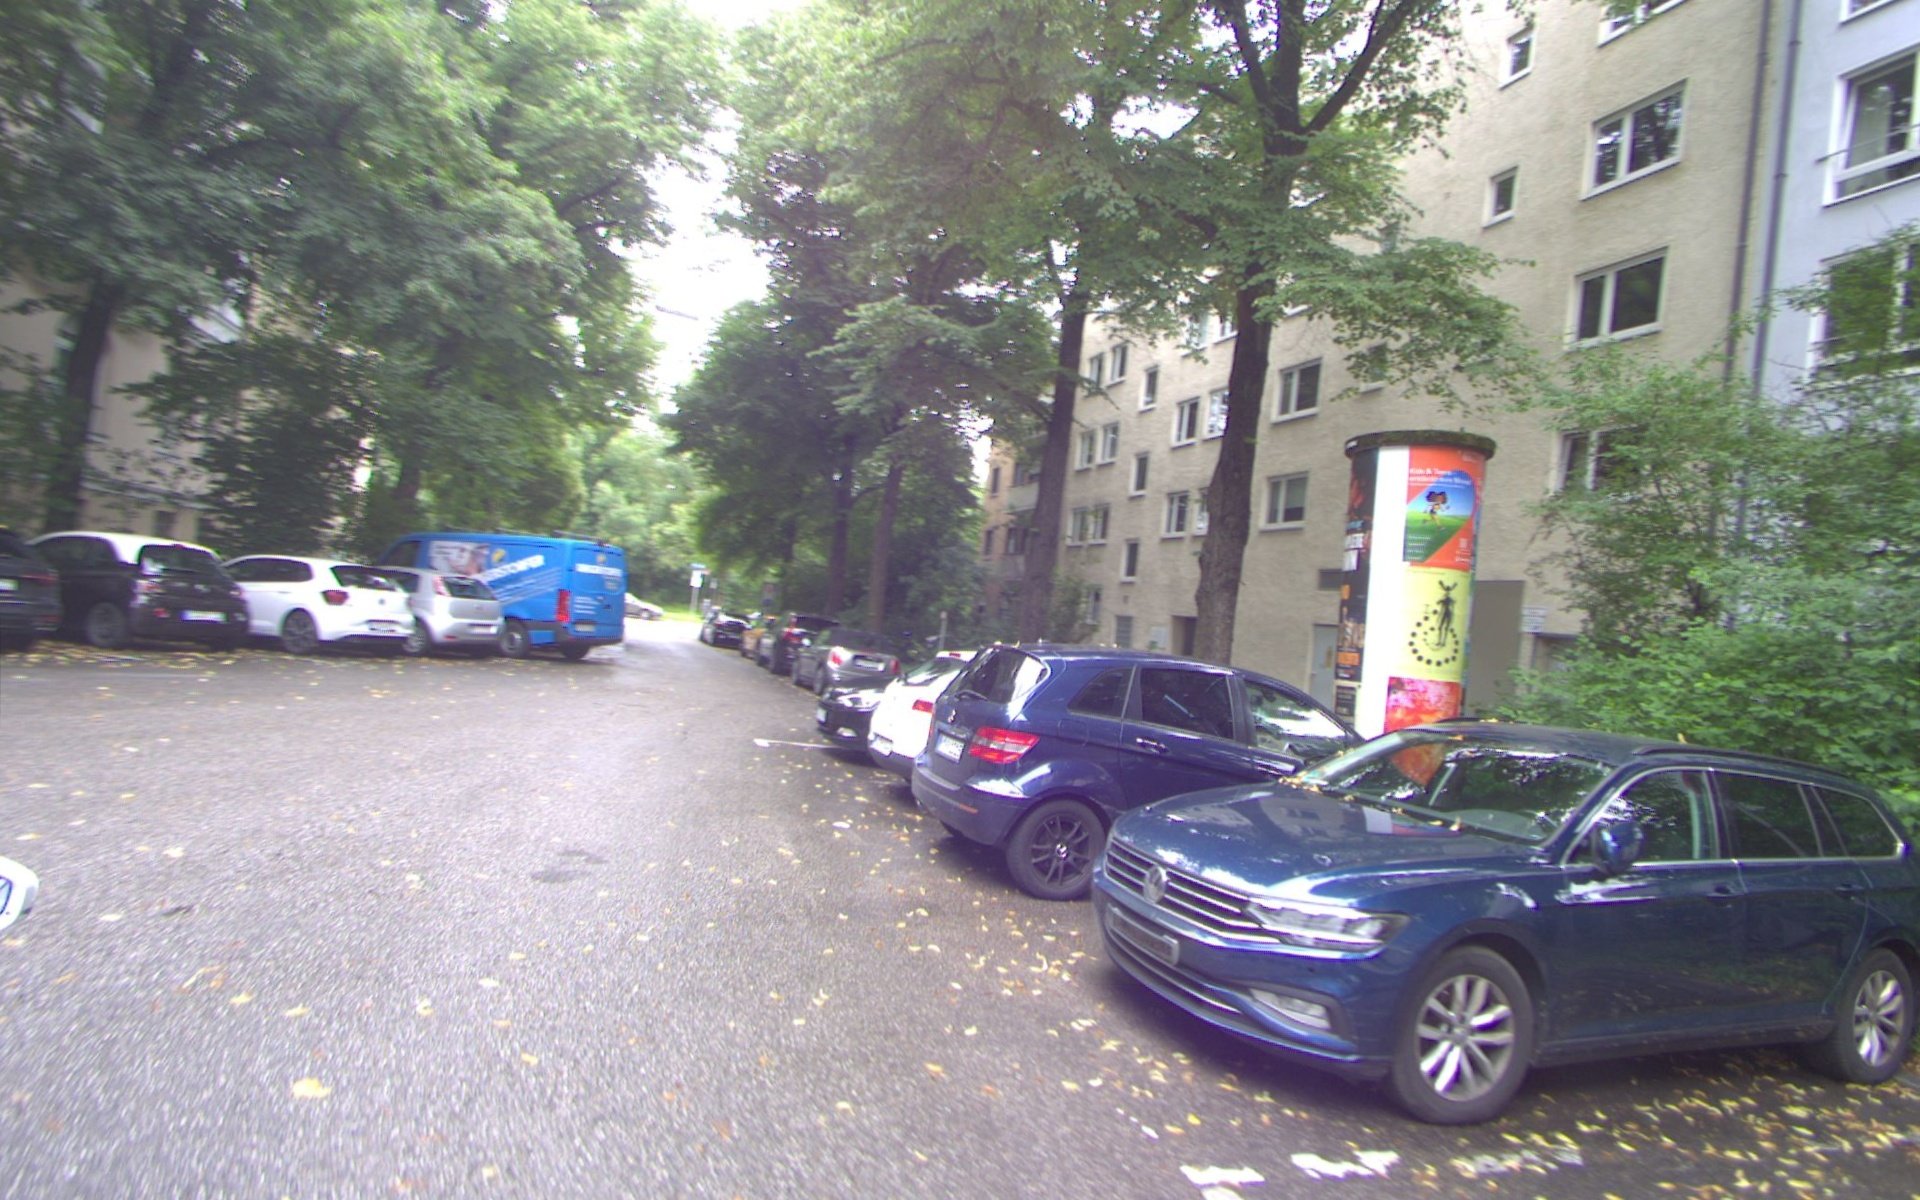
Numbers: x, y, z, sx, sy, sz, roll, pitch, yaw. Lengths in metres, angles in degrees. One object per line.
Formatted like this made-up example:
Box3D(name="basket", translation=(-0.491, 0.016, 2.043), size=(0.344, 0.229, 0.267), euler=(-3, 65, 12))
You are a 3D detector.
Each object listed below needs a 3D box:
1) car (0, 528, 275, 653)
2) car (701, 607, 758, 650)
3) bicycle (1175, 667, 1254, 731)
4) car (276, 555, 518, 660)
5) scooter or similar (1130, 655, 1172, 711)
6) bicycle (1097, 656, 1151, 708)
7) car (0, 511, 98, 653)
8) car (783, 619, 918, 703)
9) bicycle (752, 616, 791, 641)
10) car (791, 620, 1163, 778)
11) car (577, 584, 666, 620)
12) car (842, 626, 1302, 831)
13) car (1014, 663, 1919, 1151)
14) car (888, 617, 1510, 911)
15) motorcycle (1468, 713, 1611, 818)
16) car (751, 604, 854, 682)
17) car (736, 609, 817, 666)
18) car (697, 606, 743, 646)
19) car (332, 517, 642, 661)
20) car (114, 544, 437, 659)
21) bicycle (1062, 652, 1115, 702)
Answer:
Box3D(name="car", translation=(-11.511, -0.119, 13.515), size=(3.679, 1.442, 1.834), euler=(2, -2, 16))
Box3D(name="car", translation=(-9.386, 1.130, 40.703), size=(1.664, 1.373, 3.993), euler=(8, -2, -19))
Box3D(name="bicycle", translation=(5.400, 2.088, 21.466), size=(0.441, 1.137, 1.758), euler=(7, -1, -29))
Box3D(name="car", translation=(-9.837, 0.148, 17.649), size=(3.487, 1.449, 1.645), euler=(5, -2, 17))
Box3D(name="scooter or similar", translation=(4.755, 2.058, 25.081), size=(0.379, 1.267, 1.132), euler=(7, -1, -19))
Box3D(name="bicycle", translation=(3.929, 1.970, 23.955), size=(0.438, 1.137, 1.767), euler=(6, -2, 35))
Box3D(name="car", translation=(-11.780, -0.318, 10.848), size=(4.085, 1.442, 1.865), euler=(4, -2, 18))
Box3D(name="car", translation=(-2.517, 1.271, 22.056), size=(1.877, 1.430, 4.413), euler=(6, -2, -19))
Box3D(name="bicycle", translation=(-9.103, 1.384, 48.648), size=(1.728, 0.993, 0.272), euler=(7, -1, -10))
Box3D(name="car", translation=(0.234, 1.207, 12.104), size=(4.048, 1.410, 1.723), euler=(8, -2, -27))
Box3D(name="car", translation=(-20.085, 0.125, 59.949), size=(4.742, 1.513, 1.838), euler=(8, -1, -14))
Box3D(name="car", translation=(1.062, 1.230, 9.658), size=(3.896, 1.464, 1.818), euler=(7, -2, -23))
Box3D(name="car", translation=(2.838, 1.305, 4.990), size=(4.672, 1.393, 1.950), euler=(8, -2, -23))
Box3D(name="car", translation=(1.667, 1.156, 7.253), size=(3.927, 1.574, 1.750), euler=(7, -1, -19))
Box3D(name="motorcycle", translation=(7.726, 2.212, 13.409), size=(1.785, 1.212, 0.687), euler=(7, -1, -26))
Box3D(name="car", translation=(-4.291, 1.083, 26.783), size=(1.811, 1.648, 4.509), euler=(7, -2, -18))
Box3D(name="car", translation=(-5.821, 1.142, 31.555), size=(1.602, 1.429, 3.761), euler=(8, -2, -23))
Box3D(name="car", translation=(-10.706, 1.118, 44.734), size=(1.628, 1.491, 3.632), euler=(7, -2, -16))
Box3D(name="car", translation=(-9.349, -0.202, 19.947), size=(5.391, 2.382, 2.067), euler=(4, -2, 16))
Box3D(name="car", translation=(-10.636, 0.043, 15.708), size=(4.204, 1.531, 1.805), euler=(2, -2, 15))
Box3D(name="bicycle", translation=(3.212, 1.927, 24.977), size=(0.438, 1.137, 1.767), euler=(6, -2, 35))
